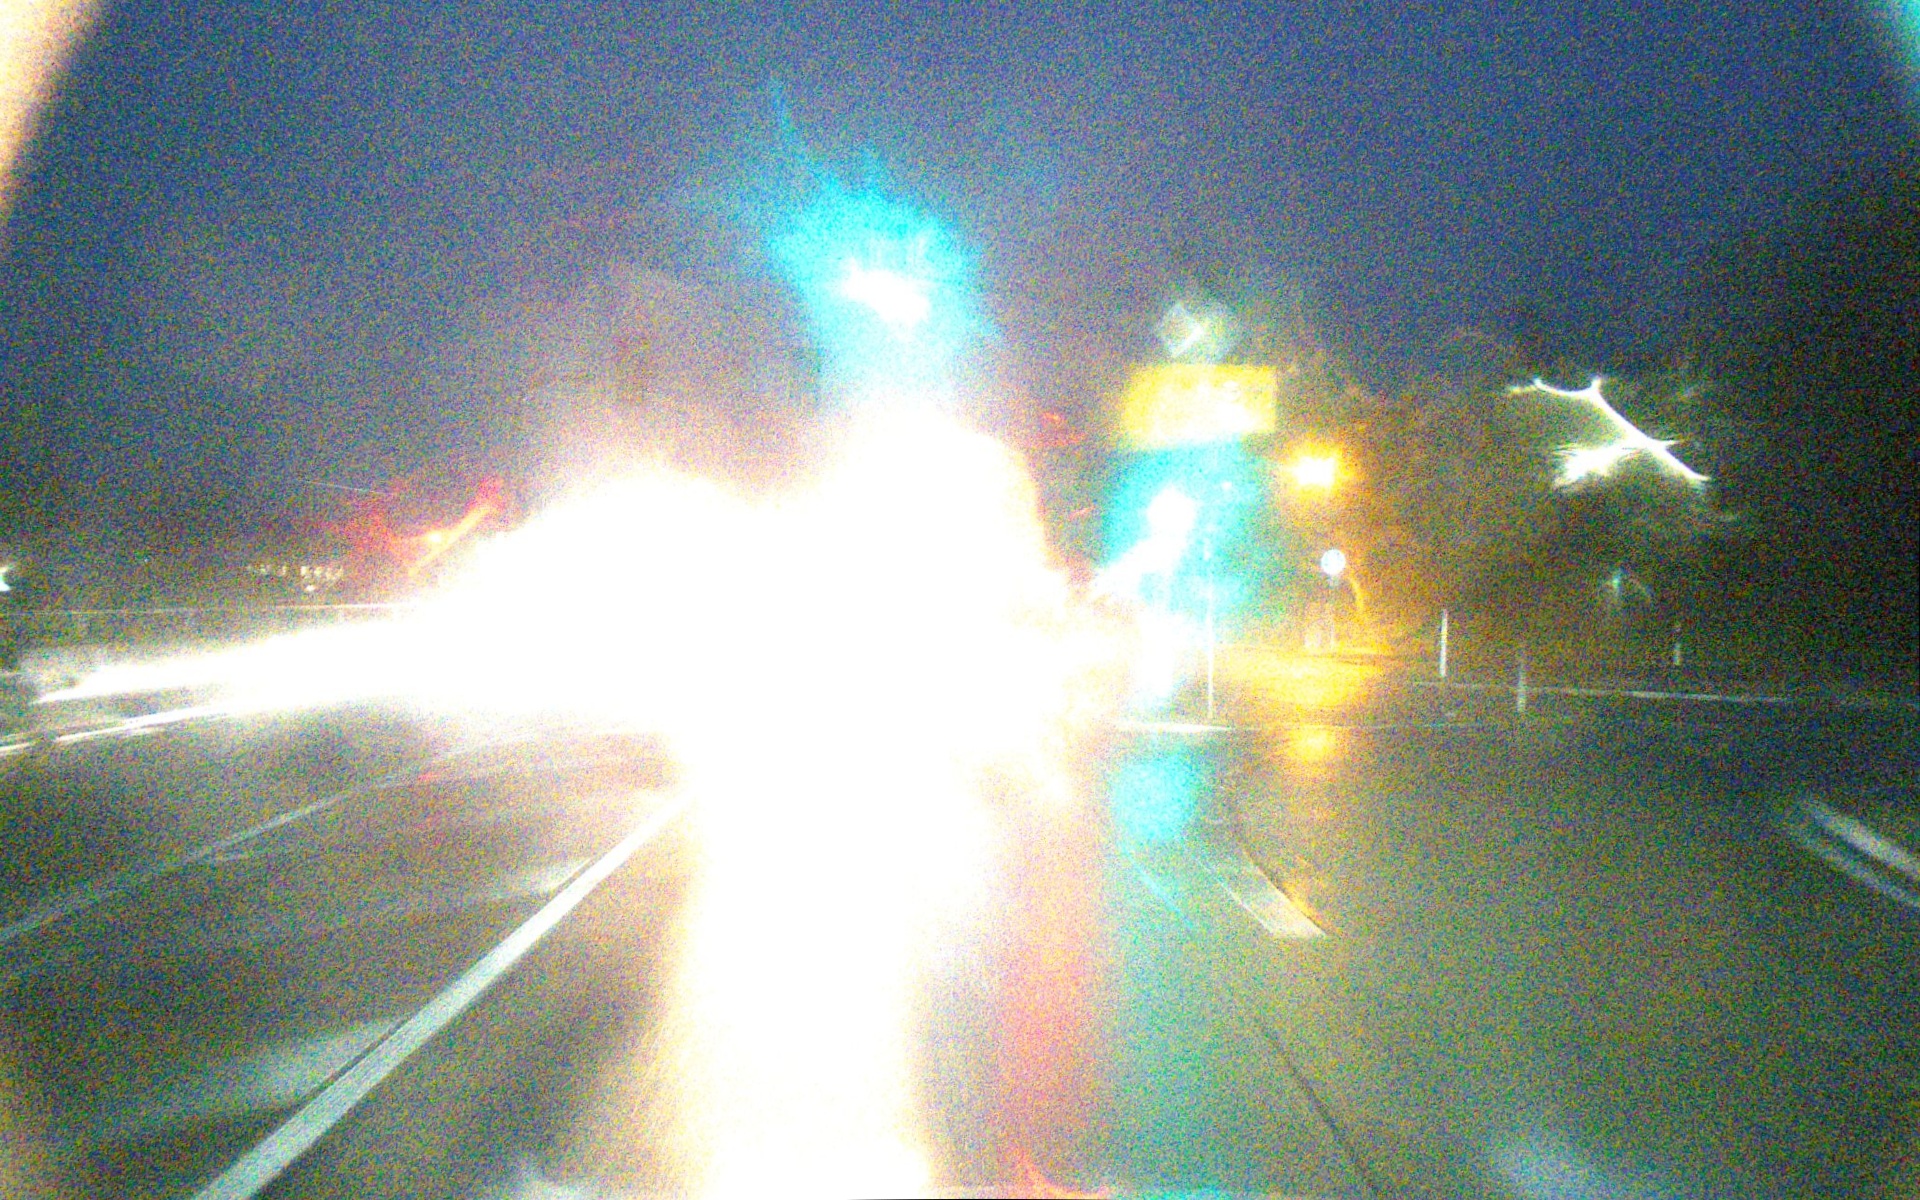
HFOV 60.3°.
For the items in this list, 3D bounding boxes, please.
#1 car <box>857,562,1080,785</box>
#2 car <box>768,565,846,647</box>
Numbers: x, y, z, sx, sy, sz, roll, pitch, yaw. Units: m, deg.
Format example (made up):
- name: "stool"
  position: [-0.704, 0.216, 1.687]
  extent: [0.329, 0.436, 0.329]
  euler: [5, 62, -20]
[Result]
- name: "car"
  position: [-0.013, 0.567, 14.973]
  extent: [1.740, 1.742, 3.998]
  euler: [0, 0, -2]
- name: "car"
  position: [-4.052, 0.203, 43.839]
  extent: [1.955, 2.049, 3.995]
  euler: [-1, -2, -6]
